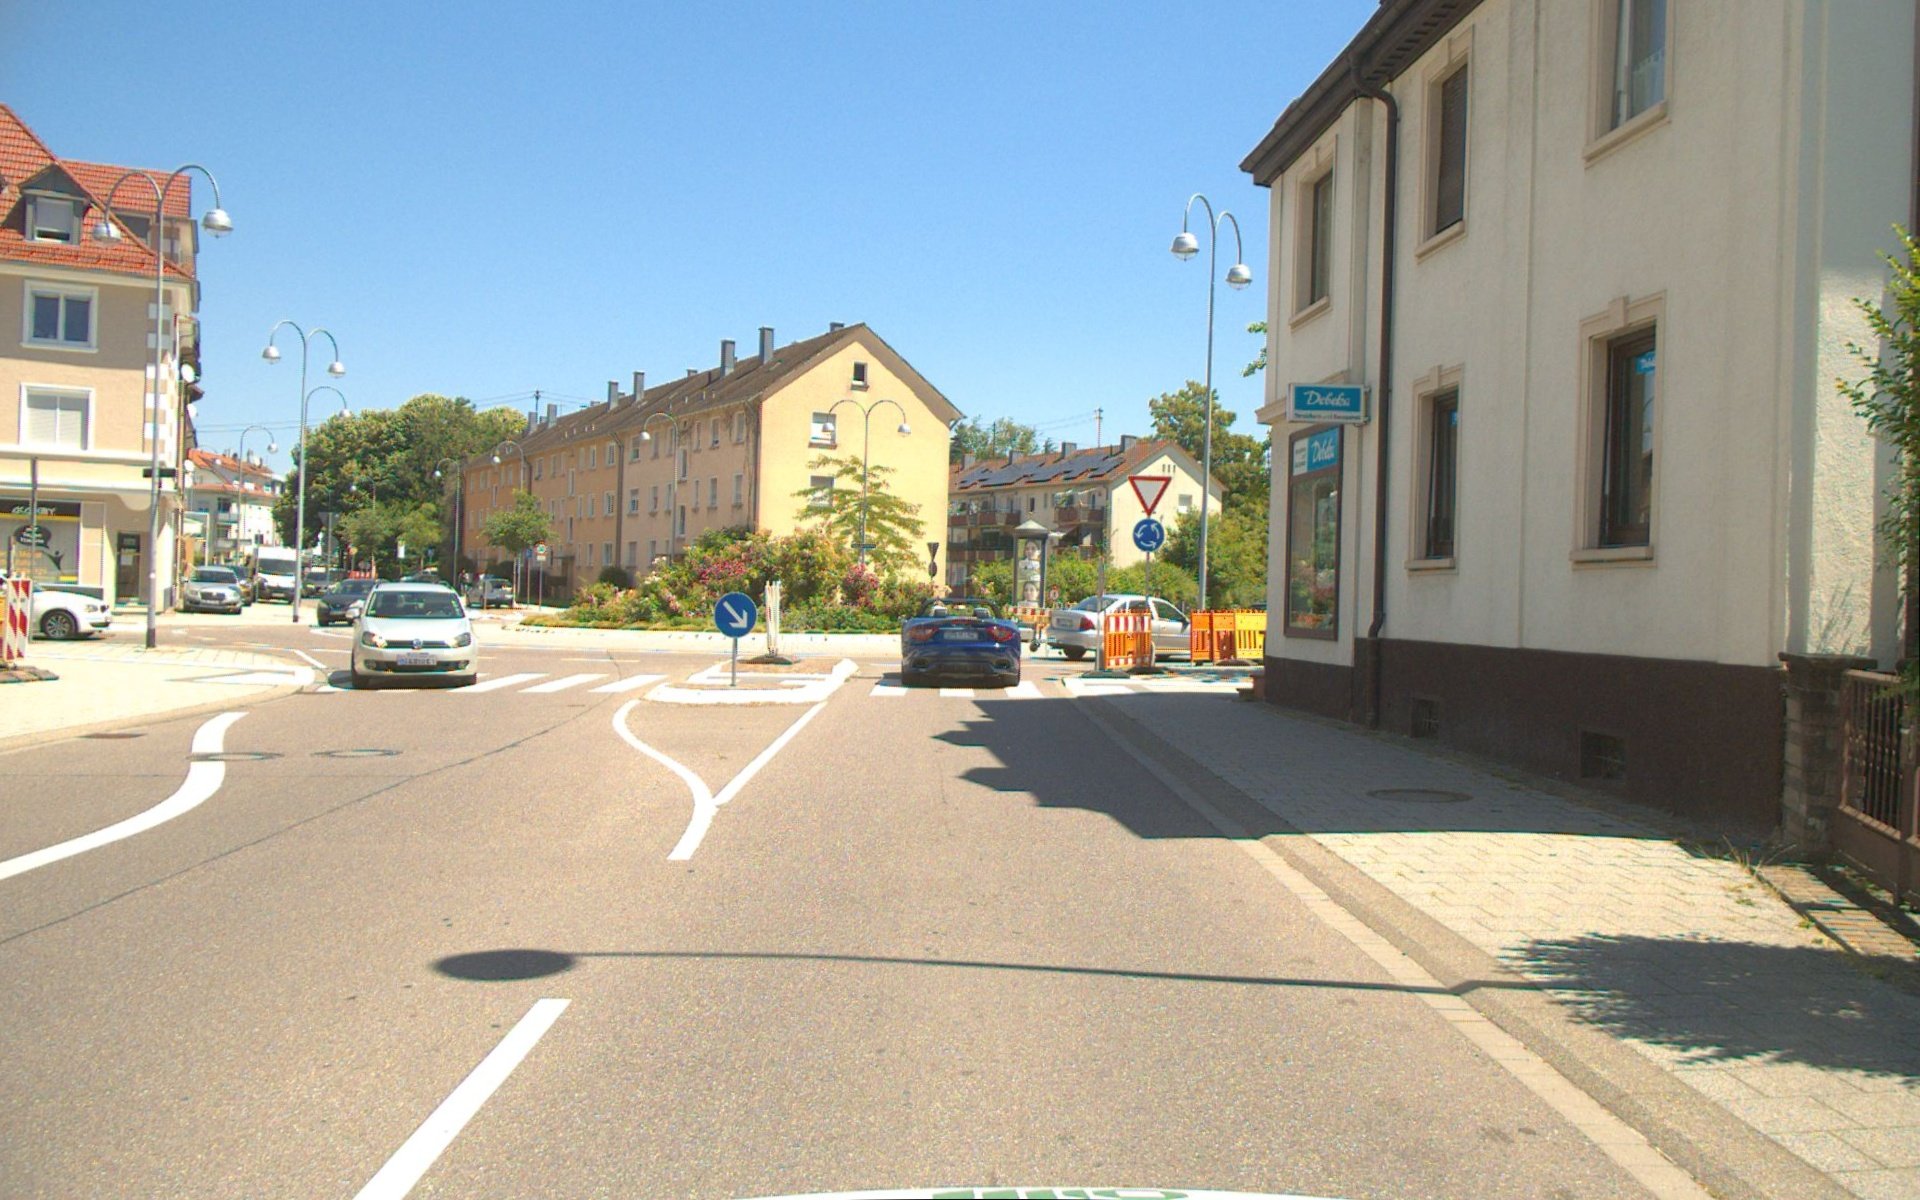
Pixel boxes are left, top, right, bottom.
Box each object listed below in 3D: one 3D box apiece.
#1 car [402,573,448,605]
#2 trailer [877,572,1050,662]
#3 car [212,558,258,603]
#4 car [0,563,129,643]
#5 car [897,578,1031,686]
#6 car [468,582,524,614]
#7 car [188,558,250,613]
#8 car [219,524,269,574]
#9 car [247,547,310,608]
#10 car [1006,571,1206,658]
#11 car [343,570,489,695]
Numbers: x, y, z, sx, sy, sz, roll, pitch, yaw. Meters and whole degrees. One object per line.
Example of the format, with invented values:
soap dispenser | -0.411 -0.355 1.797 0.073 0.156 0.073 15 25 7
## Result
car | -32.366 -0.697 99.952 1.793 1.825 3.959 3 -1 -30
trailer | 0.075 0.298 33.898 3.155 1.747 1.738 -1 1 -32
car | -29.206 -0.792 66.572 1.578 1.645 4.060 4 -1 -25
car | -19.805 0.085 34.498 4.045 1.578 1.781 -2 1 -14
car | -0.027 0.516 26.897 1.834 1.557 4.502 1 -1 -4
car | -24.105 -0.111 85.878 1.793 1.526 3.959 3 -1 -30
car | -24.736 -0.482 55.166 1.753 1.715 4.657 1 0 -25
car | -39.533 -2.789 91.249 2.119 2.577 4.812 3 -1 -27
car | -31.547 -1.046 76.453 2.119 2.577 6.183 3 -1 -27
car | 3.184 0.278 35.832 4.074 1.777 1.768 0 1 -32
car | -8.370 0.407 25.289 1.812 1.556 4.367 -6 3 -20
